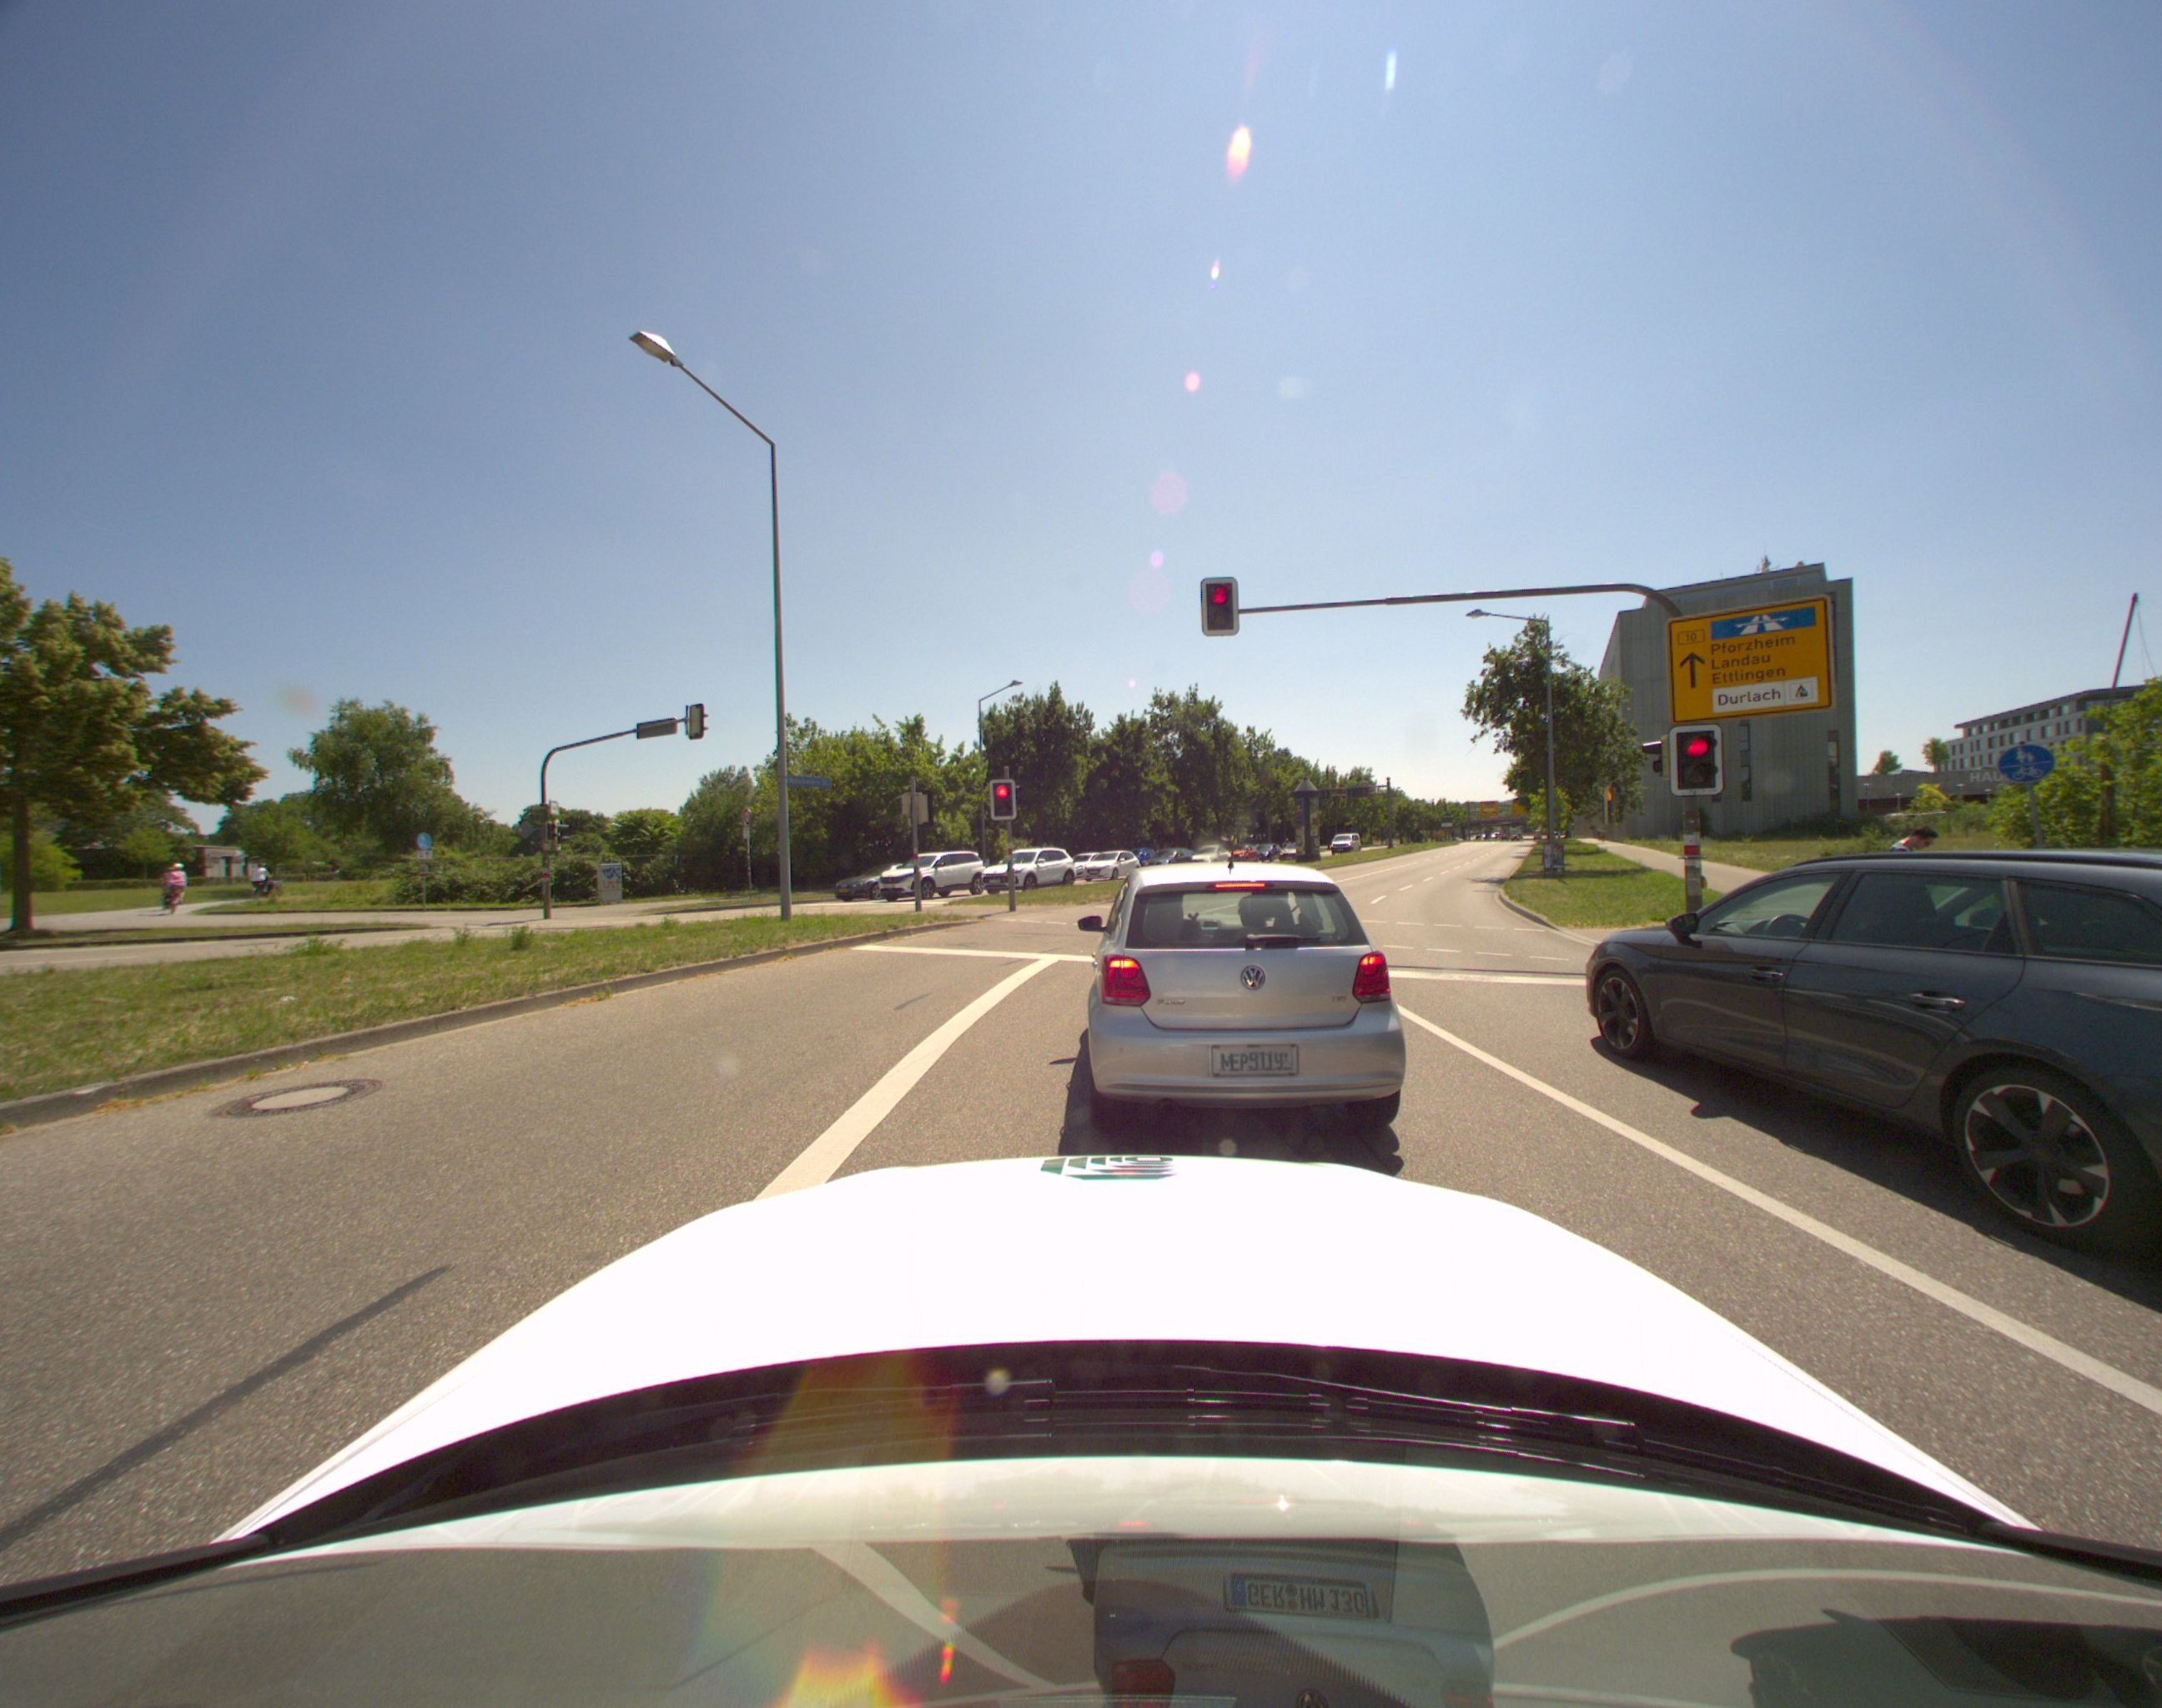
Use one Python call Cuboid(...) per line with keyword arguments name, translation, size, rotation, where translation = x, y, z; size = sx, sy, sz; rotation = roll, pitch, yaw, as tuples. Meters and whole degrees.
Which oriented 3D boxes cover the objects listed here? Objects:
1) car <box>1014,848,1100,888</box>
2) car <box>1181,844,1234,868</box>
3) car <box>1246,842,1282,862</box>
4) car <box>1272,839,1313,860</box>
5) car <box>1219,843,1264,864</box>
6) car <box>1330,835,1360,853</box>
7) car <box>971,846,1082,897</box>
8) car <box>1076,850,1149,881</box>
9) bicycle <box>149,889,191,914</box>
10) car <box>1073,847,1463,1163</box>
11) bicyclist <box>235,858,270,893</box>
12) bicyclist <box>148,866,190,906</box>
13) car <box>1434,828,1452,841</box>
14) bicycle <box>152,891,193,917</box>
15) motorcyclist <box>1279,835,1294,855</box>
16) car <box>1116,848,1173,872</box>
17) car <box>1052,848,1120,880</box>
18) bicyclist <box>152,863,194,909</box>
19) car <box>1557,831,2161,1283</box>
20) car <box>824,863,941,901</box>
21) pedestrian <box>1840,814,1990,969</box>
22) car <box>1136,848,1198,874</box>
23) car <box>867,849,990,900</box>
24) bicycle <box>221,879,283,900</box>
Cuboid(name="car", translation=(-1.044, 0.612, 37.817), size=(1.840, 1.683, 4.436), rotation=(-2, 0, 31))
Cuboid(name="car", translation=(8.387, 0.097, 53.714), size=(1.840, 1.422, 4.436), rotation=(-2, 0, 31))
Cuboid(name="car", translation=(14.413, -0.180, 64.022), size=(1.699, 1.475, 3.821), rotation=(-3, -1, 29))
Cuboid(name="car", translation=(15.931, -0.368, 61.117), size=(1.951, 1.488, 4.025), rotation=(-1, 0, 30))
Cuboid(name="car", translation=(11.869, -0.080, 59.865), size=(1.840, 1.422, 4.436), rotation=(-2, 0, 31))
Cuboid(name="car", translation=(24.400, -0.917, 75.284), size=(1.845, 1.554, 4.025), rotation=(-1, 0, 29))
Cuboid(name="car", translation=(-1.917, 0.613, 30.093), size=(1.840, 1.683, 4.436), rotation=(-2, 0, 31))
Cuboid(name="car", translation=(1.716, 0.551, 42.111), size=(1.840, 1.422, 4.436), rotation=(-2, 0, 31))
Cuboid(name="bicycle", translation=(-37.133, 1.920, 33.223), size=(0.903, 0.900, 1.742), rotation=(0, 0, -40))
Cuboid(name="car", translation=(0.953, 0.692, 5.798), size=(1.769, 1.422, 4.003), rotation=(-2, 1, 2))
Cuboid(name="bicyclist", translation=(-39.539, 1.036, 38.884), size=(0.756, 1.614, 0.972), rotation=(-2, -1, -18))
Cuboid(name="bicyclist", translation=(-37.172, 1.275, 33.200), size=(0.965, 1.531, 1.172), rotation=(-2, 1, -41))
Cuboid(name="car", translation=(52.115, -2.755, 117.217), size=(1.783, 1.692, 4.168), rotation=(-3, -1, 31))
Cuboid(name="bicycle", translation=(-33.881, 1.859, 30.396), size=(2.198, 0.900, 0.904), rotation=(-3, -2, 44))
Cuboid(name="motorcyclist", translation=(17.450, -0.771, 69.093), size=(0.897, 1.586, 1.016), rotation=(-3, -1, 32))
Cuboid(name="car", translation=(4.116, 0.352, 52.103), size=(1.840, 1.422, 4.436), rotation=(-2, 0, 31))
Cuboid(name="car", translation=(0.353, 0.551, 46.257), size=(1.840, 1.683, 4.436), rotation=(-2, 0, 31))
Cuboid(name="bicyclist", translation=(-33.880, 1.191, 30.404), size=(1.171, 1.610, 0.966), rotation=(-3, -1, 44))
Cuboid(name="car", translation=(4.572, 0.623, 4.121), size=(1.984, 1.418, 4.461), rotation=(-2, 1, 4))
Cuboid(name="car", translation=(-7.687, 1.049, 31.895), size=(1.840, 1.270, 4.436), rotation=(-2, 0, 31))
Cuboid(name="pedestrian", translation=(9.348, 0.410, 9.177), size=(0.944, 1.637, 0.762), rotation=(-3, -1, 31))
Cuboid(name="car", translation=(5.101, 0.385, 47.809), size=(1.840, 1.422, 4.436), rotation=(-2, 0, 31))
Cuboid(name="car", translation=(-5.371, 0.697, 29.297), size=(1.840, 1.618, 4.436), rotation=(-2, 0, 31))
Cuboid(name="bicycle", translation=(-39.481, 1.677, 38.836), size=(0.740, 0.912, 2.912), rotation=(-2, -1, -17))
